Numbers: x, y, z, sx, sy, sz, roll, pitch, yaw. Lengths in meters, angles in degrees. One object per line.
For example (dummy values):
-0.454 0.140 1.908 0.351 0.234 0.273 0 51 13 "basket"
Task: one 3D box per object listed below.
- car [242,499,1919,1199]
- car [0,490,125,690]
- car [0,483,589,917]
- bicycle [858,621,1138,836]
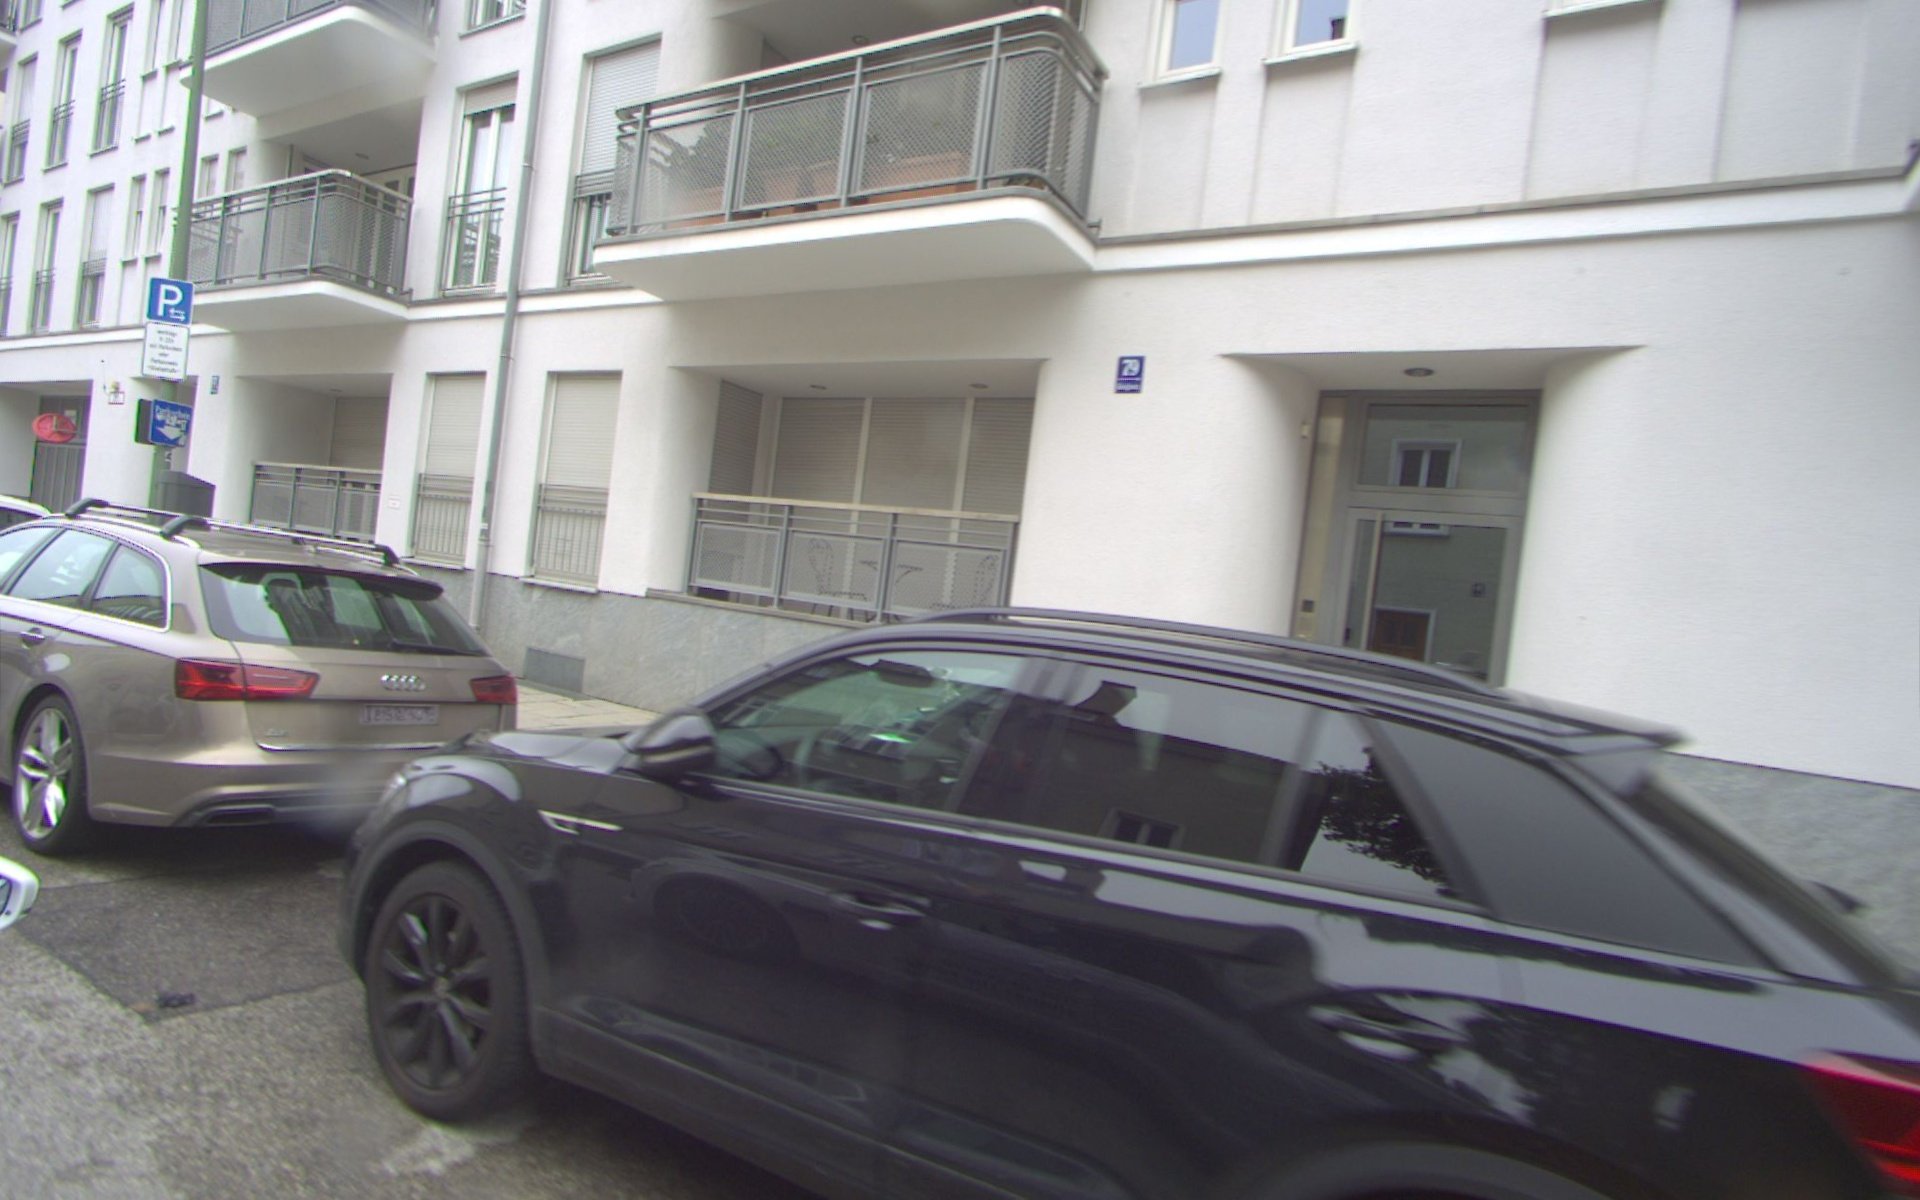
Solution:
0.107 0.775 2.871 3.952 1.551 1.842 7 -1 28 "car"
-8.919 -0.283 8.525 3.683 1.484 1.620 8 0 31 "car"
-4.410 0.248 5.580 4.525 1.499 1.795 7 -1 30 "car"
0.224 0.809 6.892 1.780 1.113 0.569 8 4 32 "bicycle"
